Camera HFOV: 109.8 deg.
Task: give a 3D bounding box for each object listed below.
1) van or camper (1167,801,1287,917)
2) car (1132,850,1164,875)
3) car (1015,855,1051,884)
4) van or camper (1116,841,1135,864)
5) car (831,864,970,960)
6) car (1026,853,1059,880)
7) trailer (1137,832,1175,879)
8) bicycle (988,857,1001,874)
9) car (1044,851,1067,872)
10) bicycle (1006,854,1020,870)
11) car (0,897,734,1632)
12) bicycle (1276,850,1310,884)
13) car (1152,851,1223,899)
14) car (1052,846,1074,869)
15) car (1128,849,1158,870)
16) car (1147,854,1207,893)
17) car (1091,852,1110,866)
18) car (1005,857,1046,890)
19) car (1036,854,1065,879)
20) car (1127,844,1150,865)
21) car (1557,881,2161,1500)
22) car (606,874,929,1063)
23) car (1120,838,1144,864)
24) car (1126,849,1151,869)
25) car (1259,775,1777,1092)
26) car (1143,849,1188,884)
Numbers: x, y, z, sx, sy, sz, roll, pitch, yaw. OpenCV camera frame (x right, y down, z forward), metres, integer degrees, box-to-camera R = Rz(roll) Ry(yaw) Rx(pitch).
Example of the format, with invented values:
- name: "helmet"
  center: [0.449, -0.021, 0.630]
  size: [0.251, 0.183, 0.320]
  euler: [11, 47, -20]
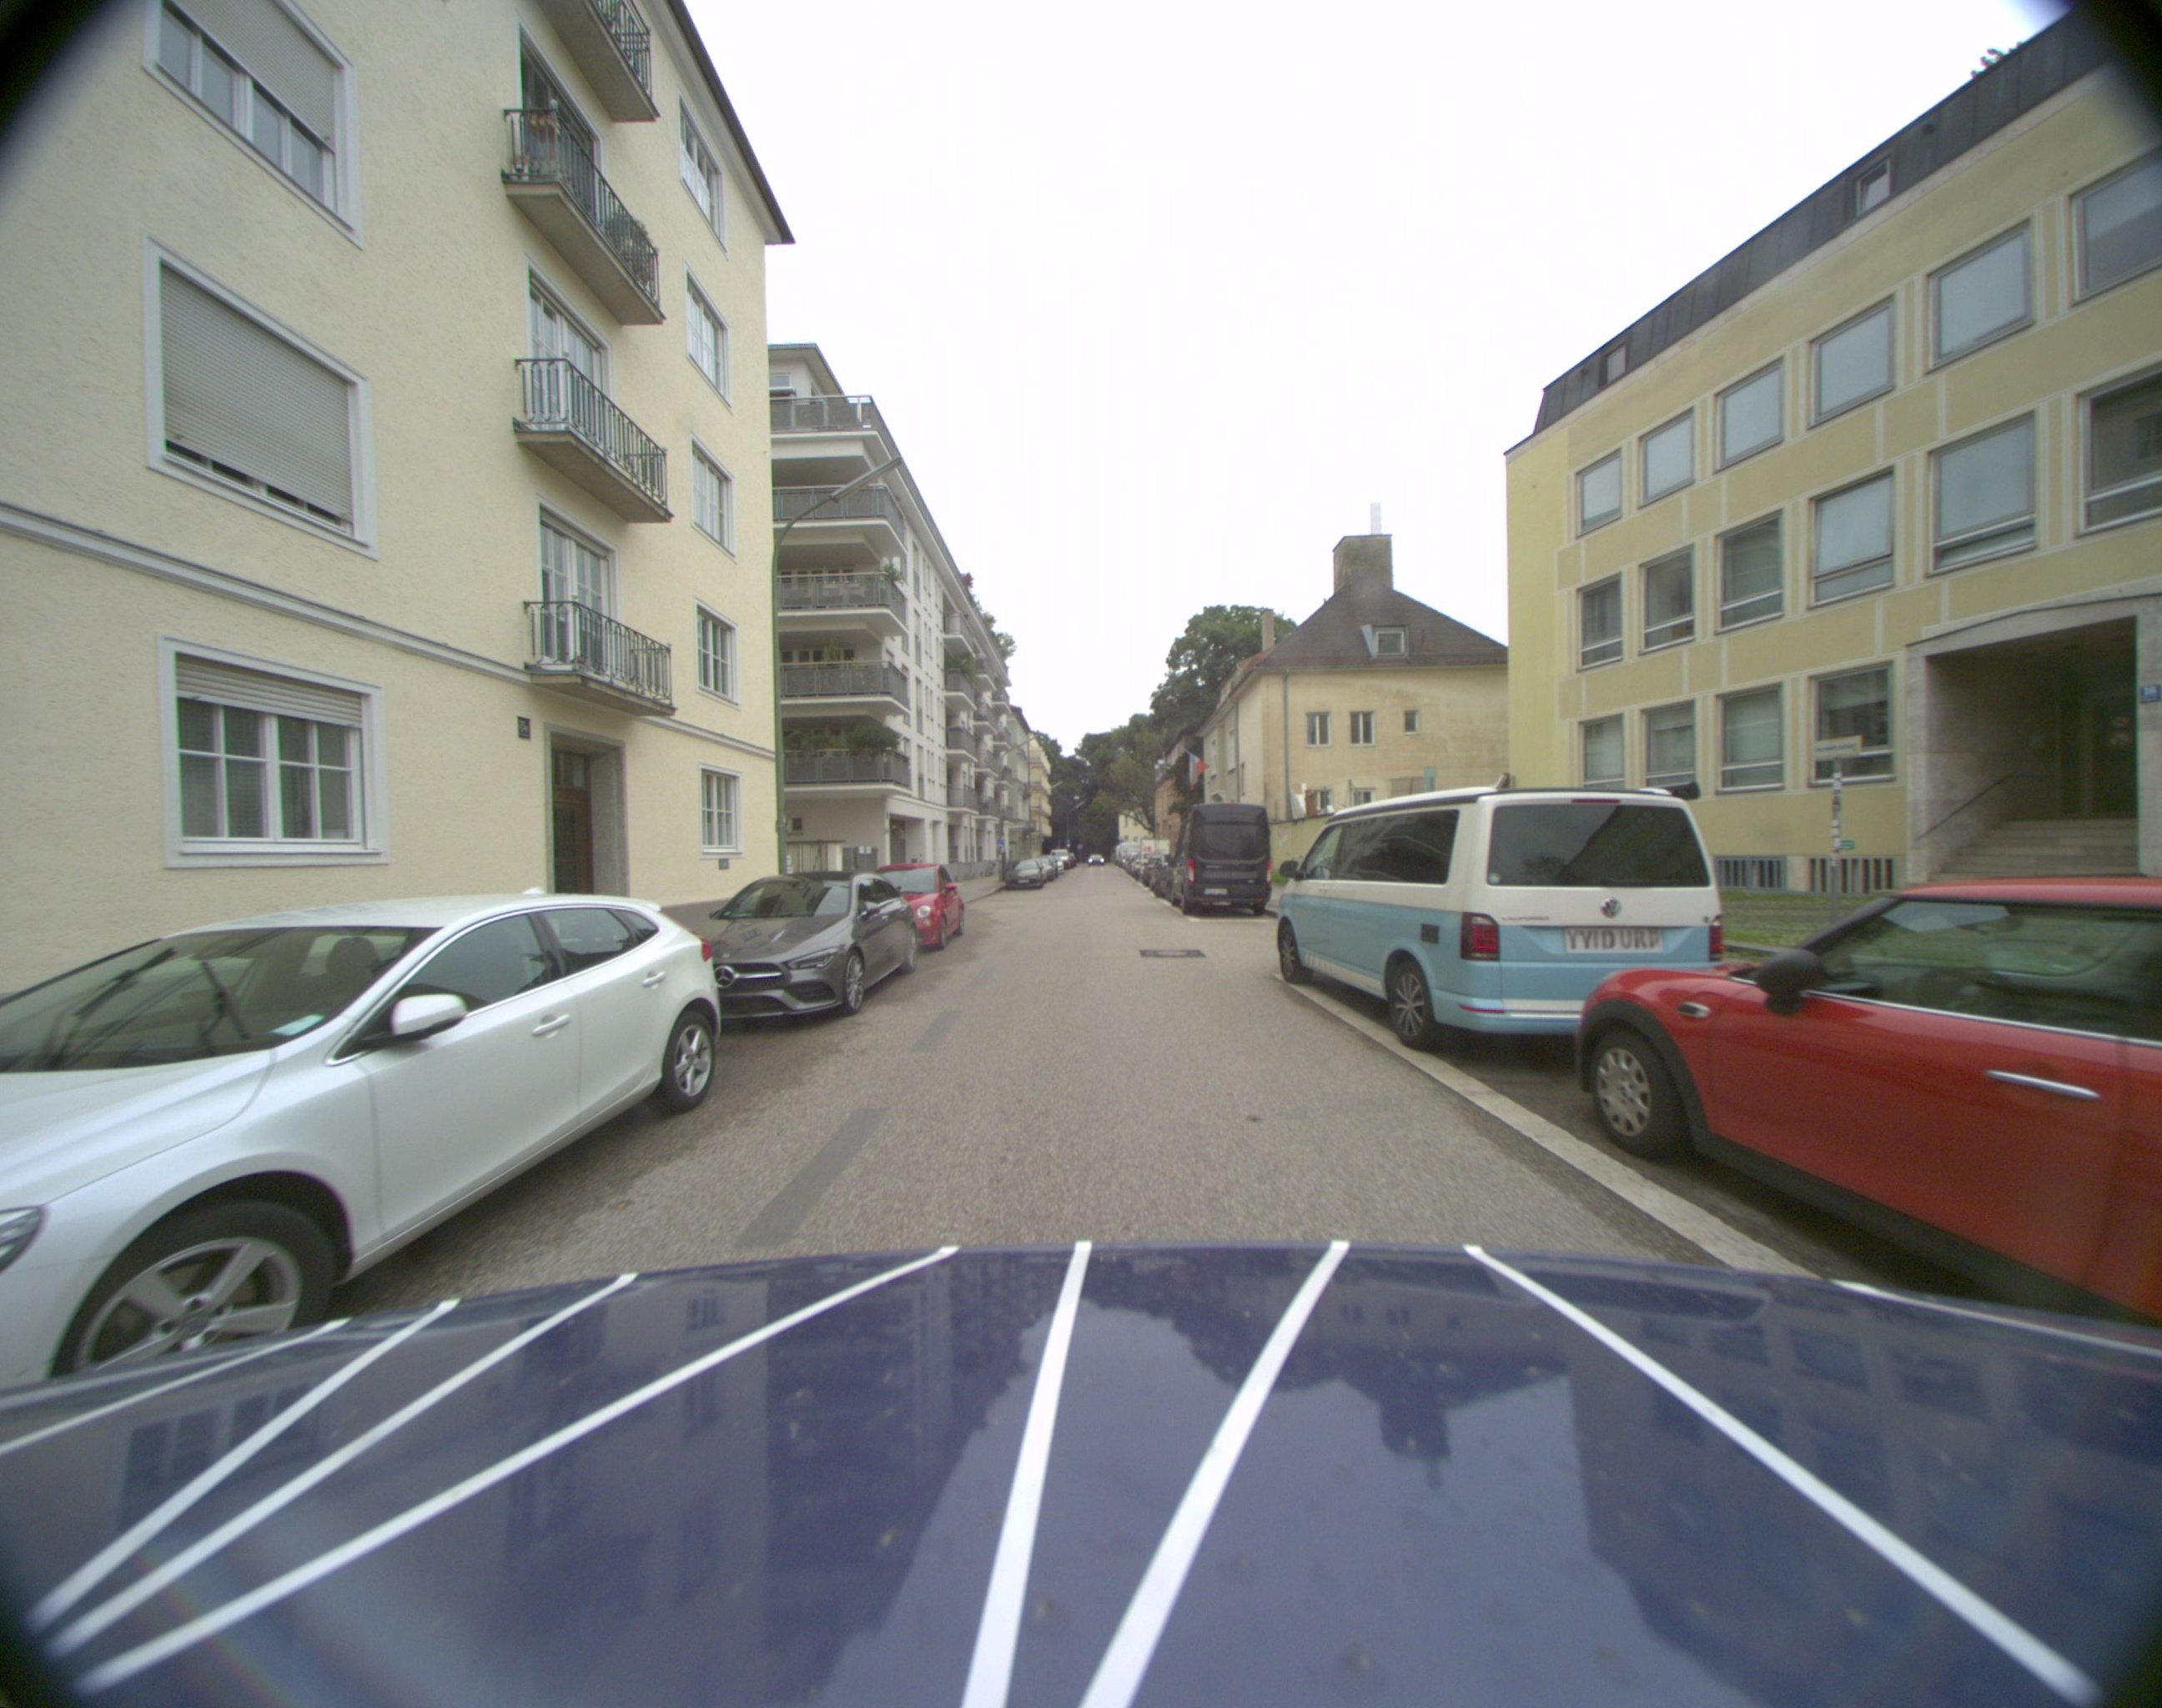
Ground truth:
- name: "van or camper"
  center: [3.641, 0.109, 20.139]
  size: [2.298, 2.635, 5.561]
  euler: [1, 0, 2]
- name: "car"
  center: [4.153, 0.506, 47.441]
  size: [1.683, 1.521, 4.107]
  euler: [0, 0, 1]
- name: "car"
  center: [-2.616, 0.839, 42.331]
  size: [1.621, 1.458, 3.746]
  euler: [-2, 0, 1]
- name: "van or camper"
  center: [5.318, -0.179, 91.540]
  size: [2.116, 2.646, 4.958]
  euler: [0, 0, 1]
- name: "car"
  center: [-3.167, 0.959, 14.068]
  size: [1.659, 1.421, 3.755]
  euler: [-2, 0, -1]
- name: "car"
  center: [-2.381, 0.760, 47.506]
  size: [1.796, 1.473, 4.602]
  euler: [-3, 0, 0]
- name: "trailer"
  center: [4.156, 0.057, 42.630]
  size: [1.980, 2.457, 4.577]
  euler: [1, 1, 4]
- name: "bicycle"
  center: [-5.847, 0.784, 51.478]
  size: [0.570, 1.091, 1.810]
  euler: [2, 1, 2]
- name: "car"
  center: [-1.940, 0.571, 59.185]
  size: [1.668, 1.459, 4.374]
  euler: [-1, 1, -1]
- name: "bicycle"
  center: [-5.378, 0.620, 60.093]
  size: [0.803, 1.165, 1.973]
  euler: [-2, 0, 2]
- name: "car"
  center: [-3.288, 1.042, 3.109]
  size: [1.729, 1.421, 4.293]
  euler: [-2, 0, -1]
- name: "bicycle"
  center: [8.097, 0.474, 29.092]
  size: [0.804, 1.226, 1.868]
  euler: [-1, 1, 0]
- name: "car"
  center: [3.496, 0.655, 25.475]
  size: [1.657, 1.488, 3.907]
  euler: [0, 0, -3]
- name: "car"
  center: [-1.738, 0.327, 74.292]
  size: [1.858, 2.019, 4.783]
  euler: [-2, 0, 1]
- name: "car"
  center: [4.316, 0.373, 53.368]
  size: [1.750, 1.360, 4.402]
  euler: [0, 0, 1]
- name: "car"
  center: [3.711, 0.708, 30.045]
  size: [1.679, 1.428, 4.285]
  euler: [0, 0, -2]
- name: "car"
  center: [2.227, 0.560, 87.578]
  size: [1.998, 1.521, 4.000]
  euler: [-2, 0, 1]
- name: "car"
  center: [-2.673, 0.923, 37.617]
  size: [1.776, 1.467, 4.217]
  euler: [-2, 0, -1]
- name: "car"
  center: [-2.103, 0.850, 53.442]
  size: [1.842, 1.524, 4.020]
  euler: [-3, 0, -1]
- name: "car"
  center: [4.850, 0.071, 64.773]
  size: [1.719, 1.746, 4.250]
  euler: [0, 0, 1]
- name: "car"
  center: [3.510, 0.862, 2.303]
  size: [1.809, 1.398, 3.709]
  euler: [1, 0, 0]
- name: "car"
  center: [-3.132, 1.033, 8.781]
  size: [1.777, 1.421, 4.615]
  euler: [-2, 0, 0]
- name: "car"
  center: [4.977, -0.297, 75.105]
  size: [2.117, 2.461, 5.231]
  euler: [0, 0, 1]
- name: "car"
  center: [4.388, 0.357, 58.450]
  size: [1.630, 1.459, 3.520]
  euler: [0, 1, 1]
- name: "car"
  center: [3.295, 0.506, 7.183]
  size: [1.920, 1.948, 4.960]
  euler: [0, 0, -2]
- name: "car"
  center: [3.996, 0.557, 36.650]
  size: [1.868, 1.533, 5.092]
  euler: [0, 0, 3]
